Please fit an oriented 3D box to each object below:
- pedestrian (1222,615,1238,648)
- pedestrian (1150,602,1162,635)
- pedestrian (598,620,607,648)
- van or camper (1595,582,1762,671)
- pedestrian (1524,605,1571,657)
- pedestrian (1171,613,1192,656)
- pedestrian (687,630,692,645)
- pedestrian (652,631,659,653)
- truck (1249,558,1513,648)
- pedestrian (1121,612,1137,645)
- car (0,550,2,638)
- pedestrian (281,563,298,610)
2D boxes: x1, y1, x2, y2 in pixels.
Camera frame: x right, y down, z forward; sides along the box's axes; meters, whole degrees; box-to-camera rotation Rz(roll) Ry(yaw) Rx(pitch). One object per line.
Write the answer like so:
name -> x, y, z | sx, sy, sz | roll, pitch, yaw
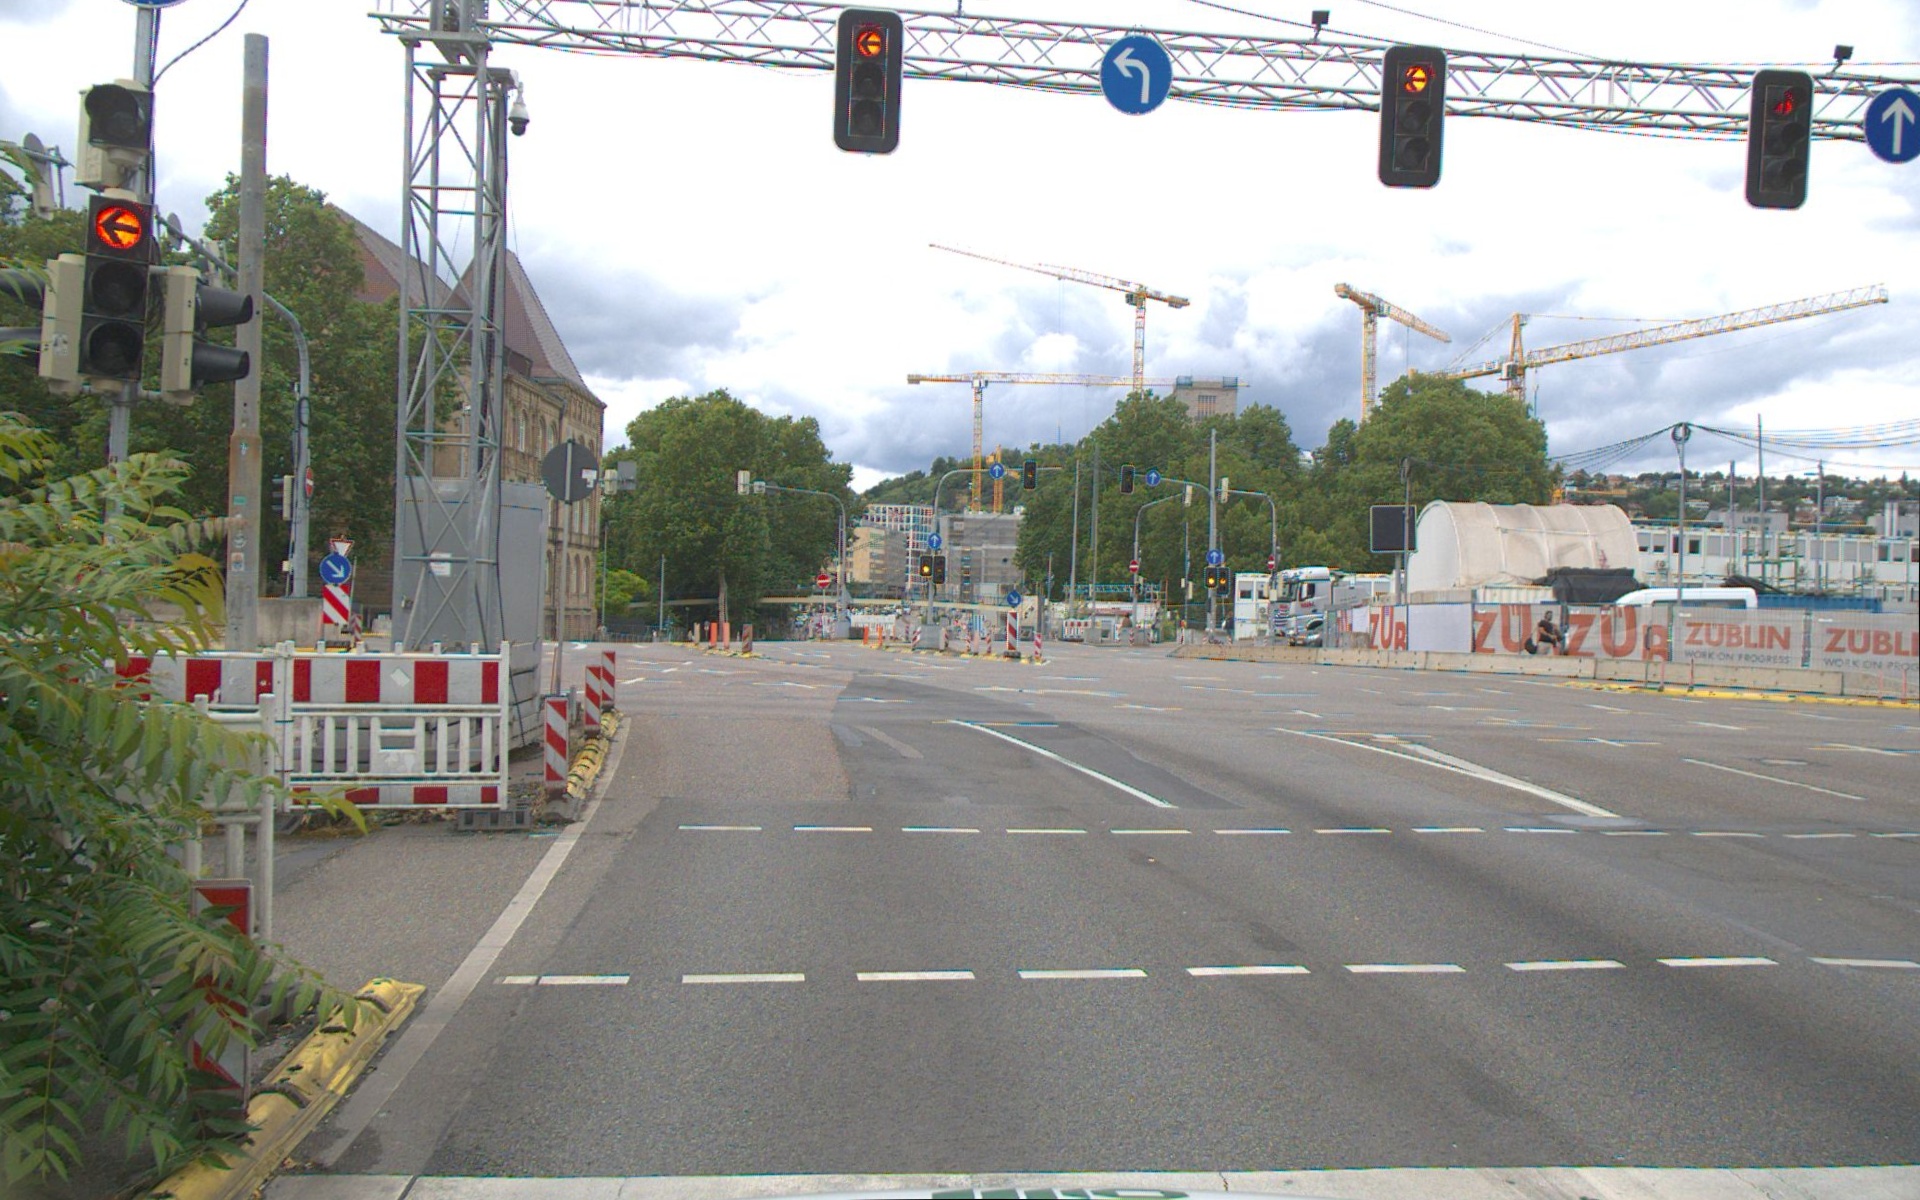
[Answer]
pedestrian -> 14.232, 1.637, 87.303 | 0.609, 1.718, 0.710 | 2, 0, 28
pedestrian -> 10.352, 0.951, 87.284 | 0.555, 1.718, 0.471 | 2, 0, -1
pedestrian -> -26.916, 2.547, 124.402 | 0.513, 2.049, 0.566 | 1, 0, -1
van or camper -> 20.731, 0.746, 47.912 | 4.123, 2.398, 2.001 | 1, 0, 14
pedestrian -> 16.173, 0.849, 45.520 | 0.788, 1.402, 0.896 | 2, 0, -29
pedestrian -> 9.069, 1.410, 67.674 | 0.714, 1.718, 0.677 | 2, 0, -1
pedestrian -> -29.224, 4.024, 178.743 | 0.525, 1.620, 0.515 | 1, 0, -5
pedestrian -> -28.274, 3.898, 153.770 | 0.513, 2.049, 0.566 | 1, 0, -1
truck -> 21.003, 0.170, 82.322 | 12.837, 4.111, 3.927 | 1, 0, -21
pedestrian -> 8.856, 1.505, 86.856 | 0.714, 1.718, 0.677 | 2, 0, -1
car -> -19.707, -0.122, 29.356 | 4.239, 1.705, 1.993 | 2, 0, -14
pedestrian -> -29.561, -0.610, 72.921 | 0.523, 2.049, 0.421 | 2, 0, -44
